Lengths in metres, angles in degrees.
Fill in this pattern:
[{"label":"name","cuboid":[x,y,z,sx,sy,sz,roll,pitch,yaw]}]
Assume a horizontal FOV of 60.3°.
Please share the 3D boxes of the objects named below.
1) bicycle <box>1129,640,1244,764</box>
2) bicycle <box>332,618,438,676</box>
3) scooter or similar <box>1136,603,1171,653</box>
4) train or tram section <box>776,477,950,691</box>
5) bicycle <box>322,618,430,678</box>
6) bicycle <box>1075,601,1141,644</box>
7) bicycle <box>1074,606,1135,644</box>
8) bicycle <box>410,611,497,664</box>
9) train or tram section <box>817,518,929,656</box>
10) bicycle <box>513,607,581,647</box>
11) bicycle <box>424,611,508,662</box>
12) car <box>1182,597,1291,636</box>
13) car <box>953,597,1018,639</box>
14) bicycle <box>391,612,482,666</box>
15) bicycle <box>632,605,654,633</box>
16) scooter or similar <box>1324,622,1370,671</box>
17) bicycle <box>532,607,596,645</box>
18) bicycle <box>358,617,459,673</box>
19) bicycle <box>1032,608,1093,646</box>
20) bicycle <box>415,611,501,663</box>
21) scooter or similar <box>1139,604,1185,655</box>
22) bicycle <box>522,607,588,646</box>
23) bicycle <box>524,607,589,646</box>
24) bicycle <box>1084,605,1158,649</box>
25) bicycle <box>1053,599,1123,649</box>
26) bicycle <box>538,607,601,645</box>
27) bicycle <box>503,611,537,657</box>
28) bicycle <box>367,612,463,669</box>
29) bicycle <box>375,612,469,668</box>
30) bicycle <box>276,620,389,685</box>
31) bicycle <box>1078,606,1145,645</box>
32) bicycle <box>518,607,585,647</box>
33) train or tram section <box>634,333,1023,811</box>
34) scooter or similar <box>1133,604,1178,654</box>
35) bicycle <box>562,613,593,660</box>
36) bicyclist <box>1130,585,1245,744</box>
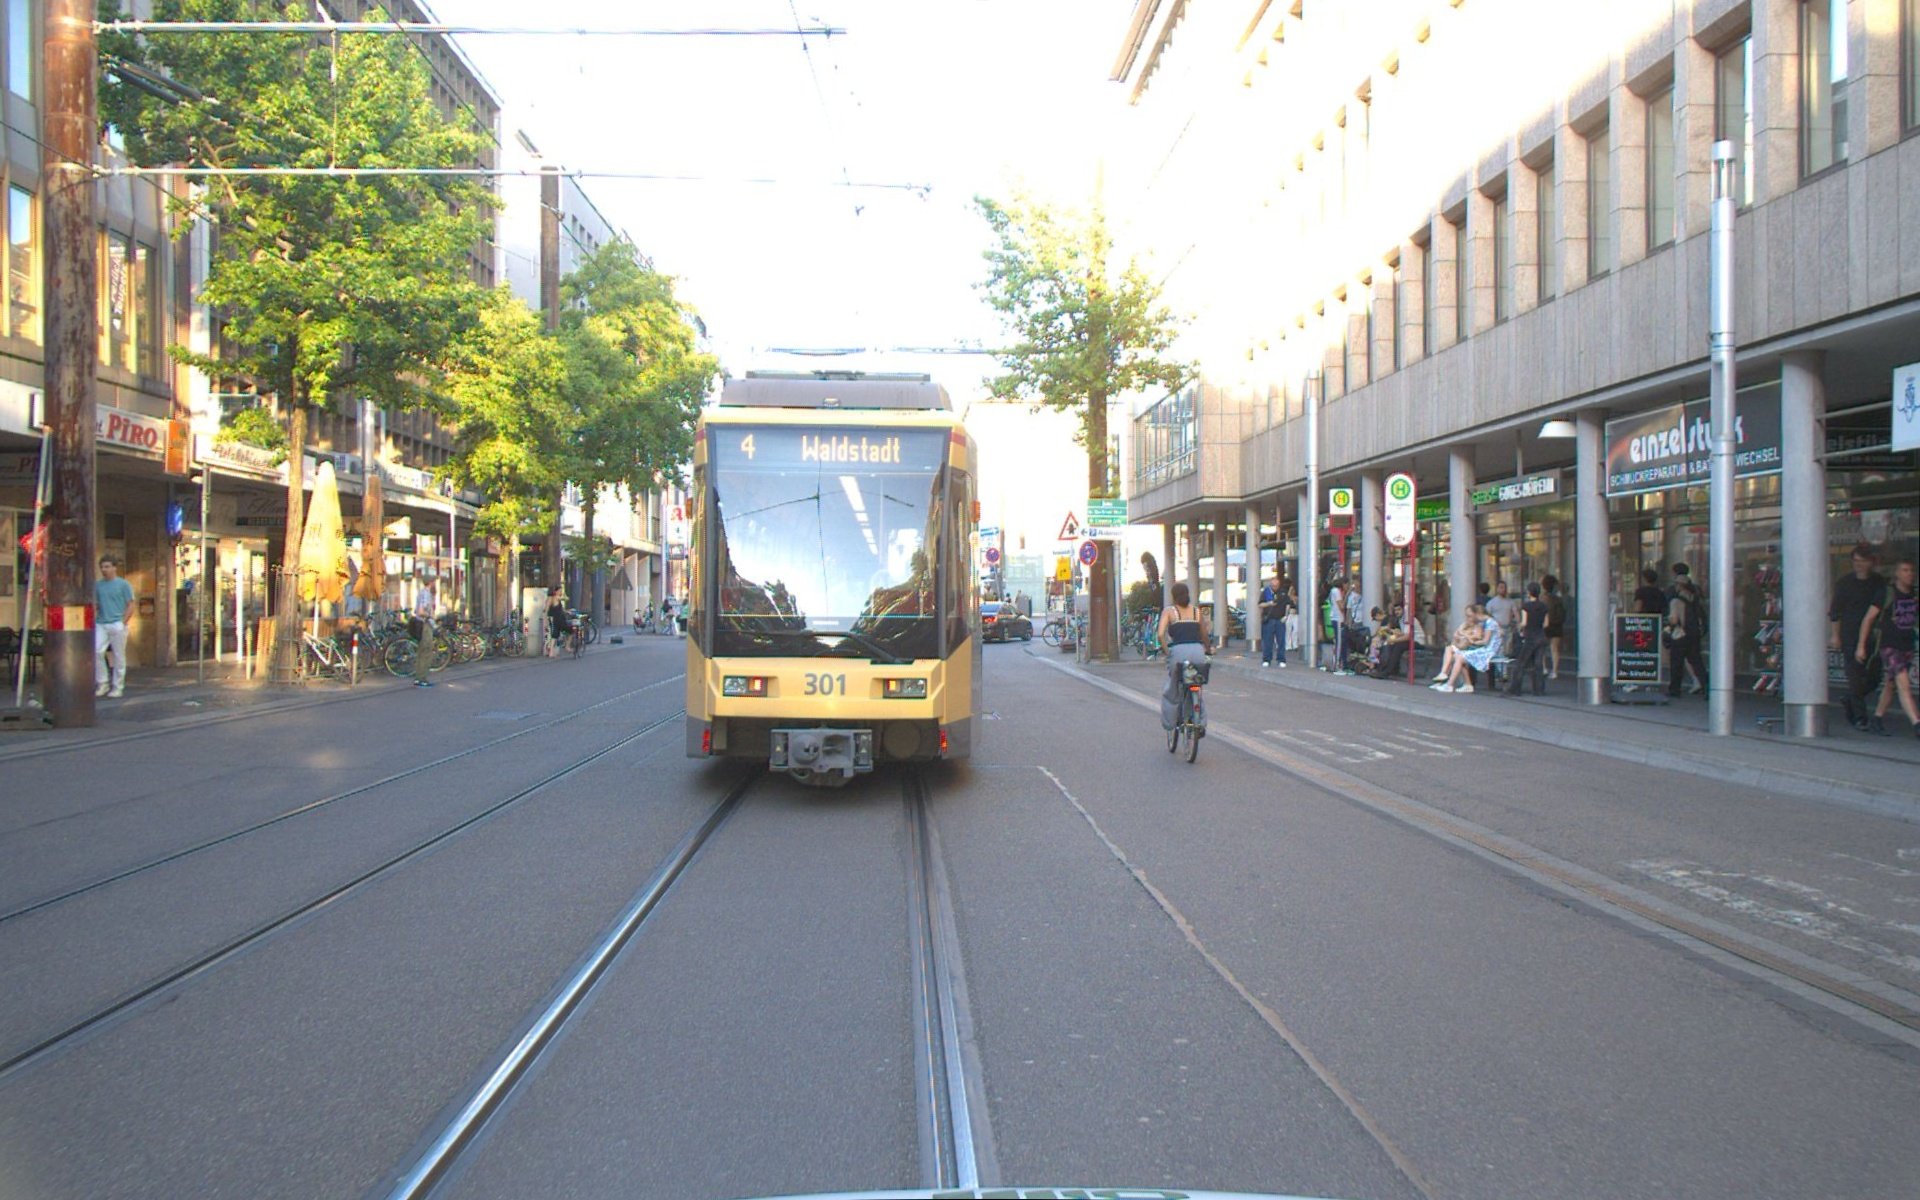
[{"label":"bicycle","cuboid":[2.247,0.993,16.677,0.798,1.092,2.113,1,0,-1]},{"label":"bicycle","cuboid":[-10.504,0.861,30.247,1.738,1.007,0.489,1,1,-8]},{"label":"scooter or similar","cuboid":[5.185,0.744,44.311,0.385,1.273,1.187,-1,1,36]},{"label":"train or tram section","cuboid":[-1.837,-0.289,33.498,2.744,3.377,14.501,0,0,-2]},{"label":"bicycle","cuboid":[-10.476,0.858,29.720,1.738,1.007,0.489,1,1,-8]},{"label":"bicycle","cuboid":[4.569,0.693,51.001,1.878,1.244,0.762,-2,0,-7]},{"label":"bicycle","cuboid":[4.596,0.797,52.668,1.816,1.128,0.666,-2,0,-5]},{"label":"bicycle","cuboid":[-11.123,0.828,36.368,1.738,1.090,0.488,2,0,-8]},{"label":"train or tram section","cuboid":[-2.449,-0.355,47.974,2.744,3.377,14.501,0,0,-2]},{"label":"bicycle","cuboid":[-11.504,0.758,46.072,1.736,1.063,0.489,2,0,-2]},{"label":"bicycle","cuboid":[-11.210,0.833,37.563,1.738,1.090,0.488,2,0,-8]},{"label":"car","cuboid":[10.578,0.635,63.402,3.811,1.434,1.774,0,-1,-4]},{"label":"car","cuboid":[0.942,0.658,58.892,1.732,1.434,4.055,0,-1,9]},{"label":"bicycle","cuboid":[-11.111,0.822,35.148,1.738,1.090,0.488,2,0,-8]},{"label":"bicycle","cuboid":[-13.475,0.808,70.292,0.488,1.127,1.801,0,1,3]},{"label":"scooter or similar","cuboid":[7.306,0.871,31.269,0.815,0.899,0.687,1,0,12]},{"label":"bicycle","cuboid":[-11.609,0.769,48.522,1.736,1.063,0.489,2,0,-2]},{"label":"bicycle","cuboid":[-10.547,0.867,31.658,1.738,1.007,0.489,1,1,-8]},{"label":"bicycle","cuboid":[3.249,0.842,52.387,1.816,1.128,0.666,-2,0,-5]},{"label":"bicycle","cuboid":[-11.196,0.830,36.910,1.738,1.090,0.488,2,0,-8]},{"label":"scooter or similar","cuboid":[5.241,0.766,42.923,1.102,1.273,0.491,-2,1,-33]},{"label":"bicycle","cuboid":[-11.565,0.763,47.220,1.736,1.063,0.489,2,0,-2]},{"label":"bicycle","cuboid":[-11.571,0.764,47.463,1.736,1.063,0.489,2,0,-2]},{"label":"bicycle","cuboid":[4.596,0.759,47.147,1.958,1.175,0.724,-2,0,-7]},{"label":"bicycle","cuboid":[3.733,0.690,48.227,1.878,1.356,0.724,-2,0,-7]},{"label":"bicycle","cuboid":[-11.594,0.772,49.104,1.736,1.063,0.489,2,0,-2]},{"label":"bicycle","cuboid":[-10.626,0.807,39.969,0.478,1.063,1.776,1,1,-5]},{"label":"bicycle","cuboid":[-10.977,0.815,33.334,1.738,1.090,0.488,2,0,-8]},{"label":"bicycle","cuboid":[-11.018,0.817,33.910,1.738,1.090,0.488,2,0,-8]},{"label":"bicycle","cuboid":[-10.284,0.856,27.093,1.734,0.983,0.490,2,-1,15]},{"label":"bicycle","cuboid":[4.593,0.771,50.255,1.878,1.096,0.762,-2,0,-7]},{"label":"bicycle","cuboid":[-11.522,0.760,46.643,1.736,1.063,0.489,2,0,-2]},{"label":"train or tram section","cuboid":[-1.231,-0.232,18.994,2.744,3.377,14.501,0,0,-2]},{"label":"scooter or similar","cuboid":[5.159,0.754,43.691,1.176,1.273,0.389,-2,1,-32]},{"label":"bicycle","cuboid":[-9.292,0.878,40.213,0.478,1.063,1.776,1,1,-5]},{"label":"bicyclist","cuboid":[2.262,0.631,16.550,0.977,1.528,0.857,1,0,-2]}]
